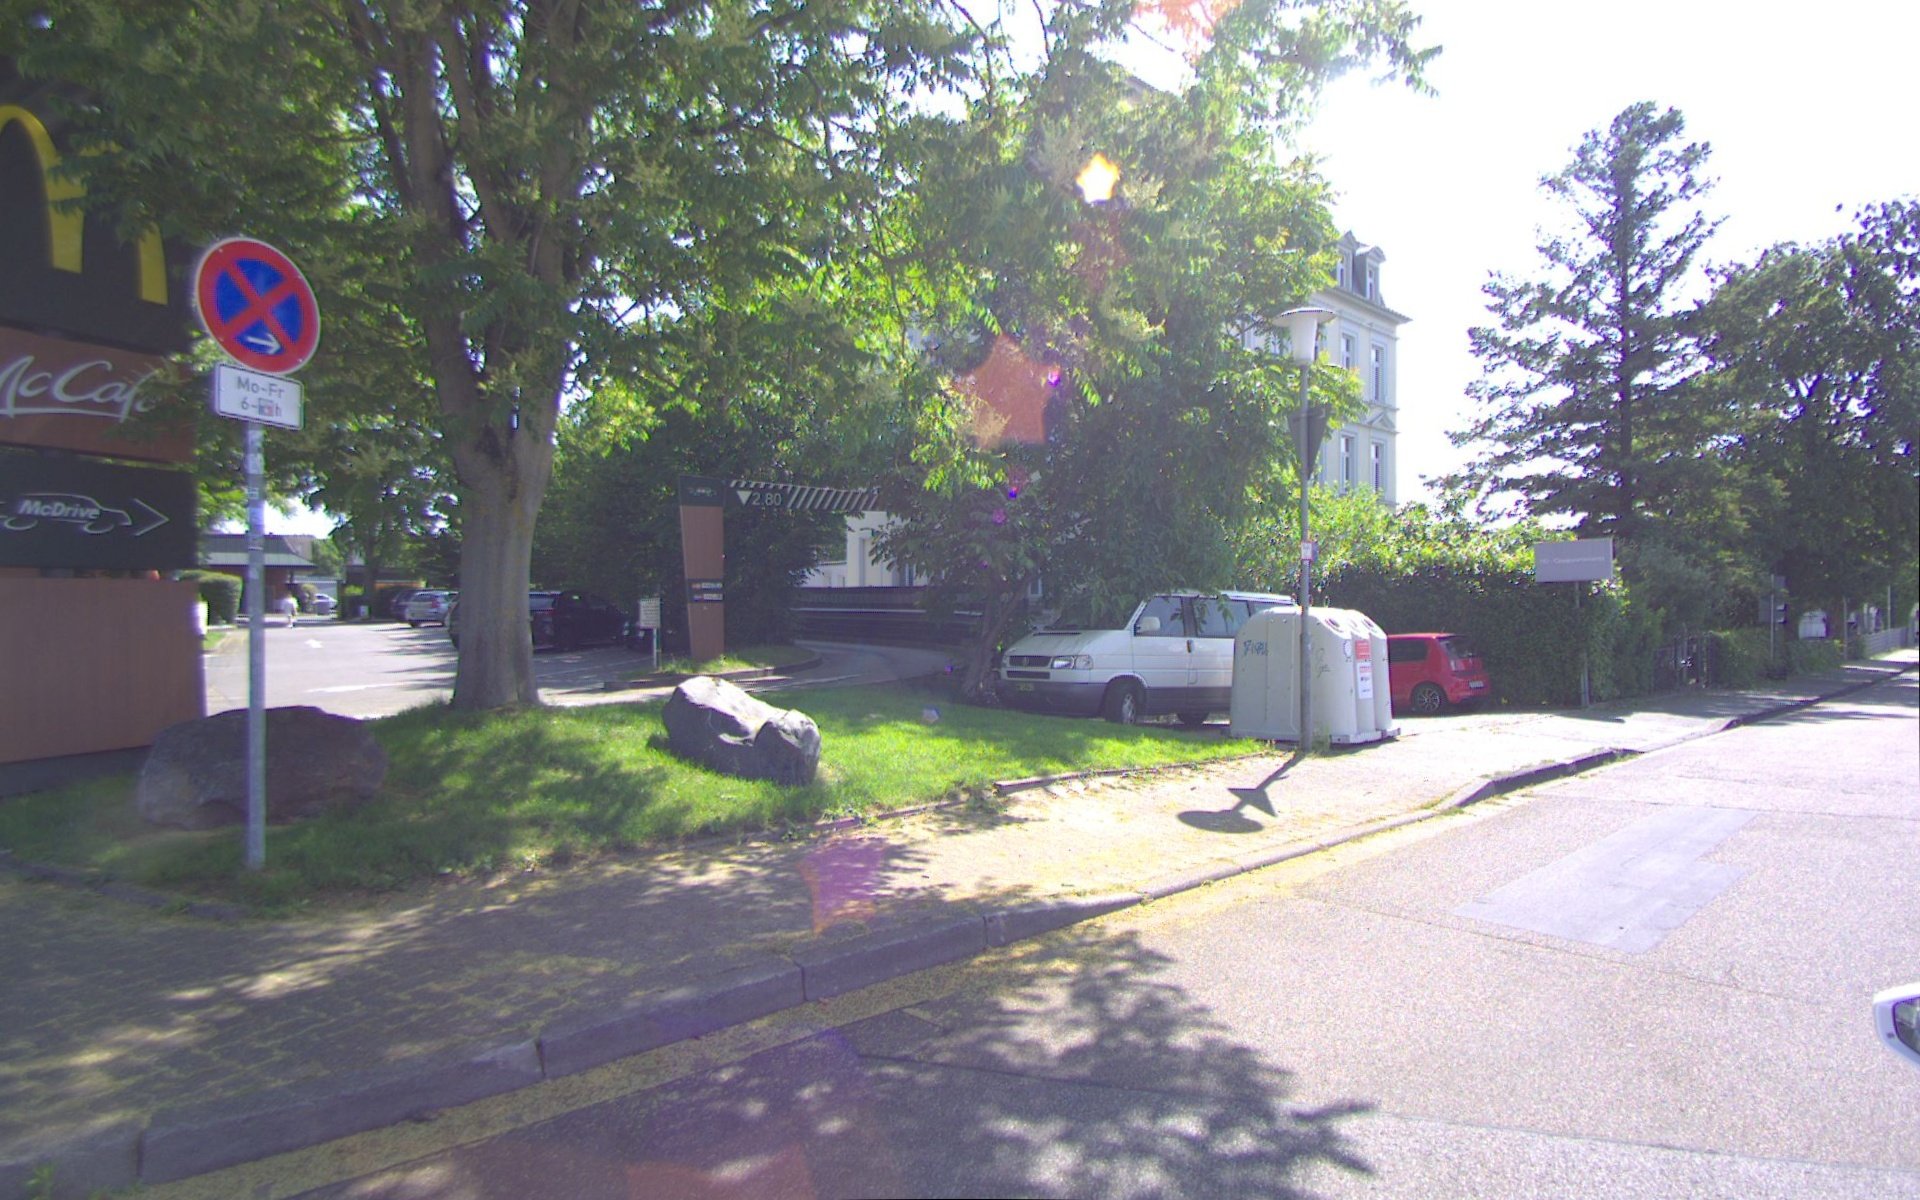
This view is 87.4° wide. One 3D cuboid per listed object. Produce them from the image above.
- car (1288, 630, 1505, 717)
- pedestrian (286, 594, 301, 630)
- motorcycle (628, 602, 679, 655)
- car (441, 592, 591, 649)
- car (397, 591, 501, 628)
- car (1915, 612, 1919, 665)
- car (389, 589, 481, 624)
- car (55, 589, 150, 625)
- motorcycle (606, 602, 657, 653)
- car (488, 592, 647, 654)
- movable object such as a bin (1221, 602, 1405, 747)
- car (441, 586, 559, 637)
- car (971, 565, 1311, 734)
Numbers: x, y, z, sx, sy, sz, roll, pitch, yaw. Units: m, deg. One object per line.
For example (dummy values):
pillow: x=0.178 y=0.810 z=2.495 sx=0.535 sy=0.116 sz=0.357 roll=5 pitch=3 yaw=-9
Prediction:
car: x=8.206 y=1.364 z=19.078 sx=1.679 sy=1.485 sz=3.370 roll=1 pitch=-4 yaw=-38
pedestrian: x=-28.261 y=0.488 z=42.573 sx=0.510 sy=1.500 sz=0.531 roll=-1 pitch=1 yaw=-35
motorcycle: x=-7.145 y=0.632 z=23.505 sx=0.559 sy=1.147 sz=2.183 roll=0 pitch=1 yaw=-2
car: x=-12.012 y=0.500 z=27.469 sx=1.594 sy=1.414 sz=4.073 roll=0 pitch=1 yaw=14
car: x=-21.457 y=0.348 z=42.350 sx=1.758 sy=1.470 sz=4.049 roll=0 pitch=1 yaw=12
car: x=40.245 y=1.588 z=40.679 sx=3.971 sy=2.084 sz=2.015 roll=2 pitch=-2 yaw=-43
car: x=-25.211 y=0.292 z=48.408 sx=1.783 sy=1.598 sz=3.871 roll=0 pitch=1 yaw=14
car: x=-41.237 y=0.319 z=48.336 sx=3.649 sy=1.654 sz=1.669 roll=0 pitch=1 yaw=14
motorcycle: x=-7.838 y=0.628 z=24.055 sx=0.559 sy=1.131 sz=2.183 roll=0 pitch=1 yaw=-2
car: x=-9.818 y=0.512 z=25.502 sx=1.734 sy=1.406 sz=4.097 roll=0 pitch=1 yaw=14
movable object such as a bin: x=4.196 y=0.867 z=11.913 sx=1.436 sy=1.546 sz=1.765 roll=-3 pitch=-5 yaw=44
car: x=-15.402 y=0.334 z=33.843 sx=1.610 sy=1.609 sz=3.851 roll=0 pitch=1 yaw=12
car: x=2.535 y=0.733 z=13.580 sx=4.478 sy=1.945 sz=1.876 roll=4 pitch=-4 yaw=-33
